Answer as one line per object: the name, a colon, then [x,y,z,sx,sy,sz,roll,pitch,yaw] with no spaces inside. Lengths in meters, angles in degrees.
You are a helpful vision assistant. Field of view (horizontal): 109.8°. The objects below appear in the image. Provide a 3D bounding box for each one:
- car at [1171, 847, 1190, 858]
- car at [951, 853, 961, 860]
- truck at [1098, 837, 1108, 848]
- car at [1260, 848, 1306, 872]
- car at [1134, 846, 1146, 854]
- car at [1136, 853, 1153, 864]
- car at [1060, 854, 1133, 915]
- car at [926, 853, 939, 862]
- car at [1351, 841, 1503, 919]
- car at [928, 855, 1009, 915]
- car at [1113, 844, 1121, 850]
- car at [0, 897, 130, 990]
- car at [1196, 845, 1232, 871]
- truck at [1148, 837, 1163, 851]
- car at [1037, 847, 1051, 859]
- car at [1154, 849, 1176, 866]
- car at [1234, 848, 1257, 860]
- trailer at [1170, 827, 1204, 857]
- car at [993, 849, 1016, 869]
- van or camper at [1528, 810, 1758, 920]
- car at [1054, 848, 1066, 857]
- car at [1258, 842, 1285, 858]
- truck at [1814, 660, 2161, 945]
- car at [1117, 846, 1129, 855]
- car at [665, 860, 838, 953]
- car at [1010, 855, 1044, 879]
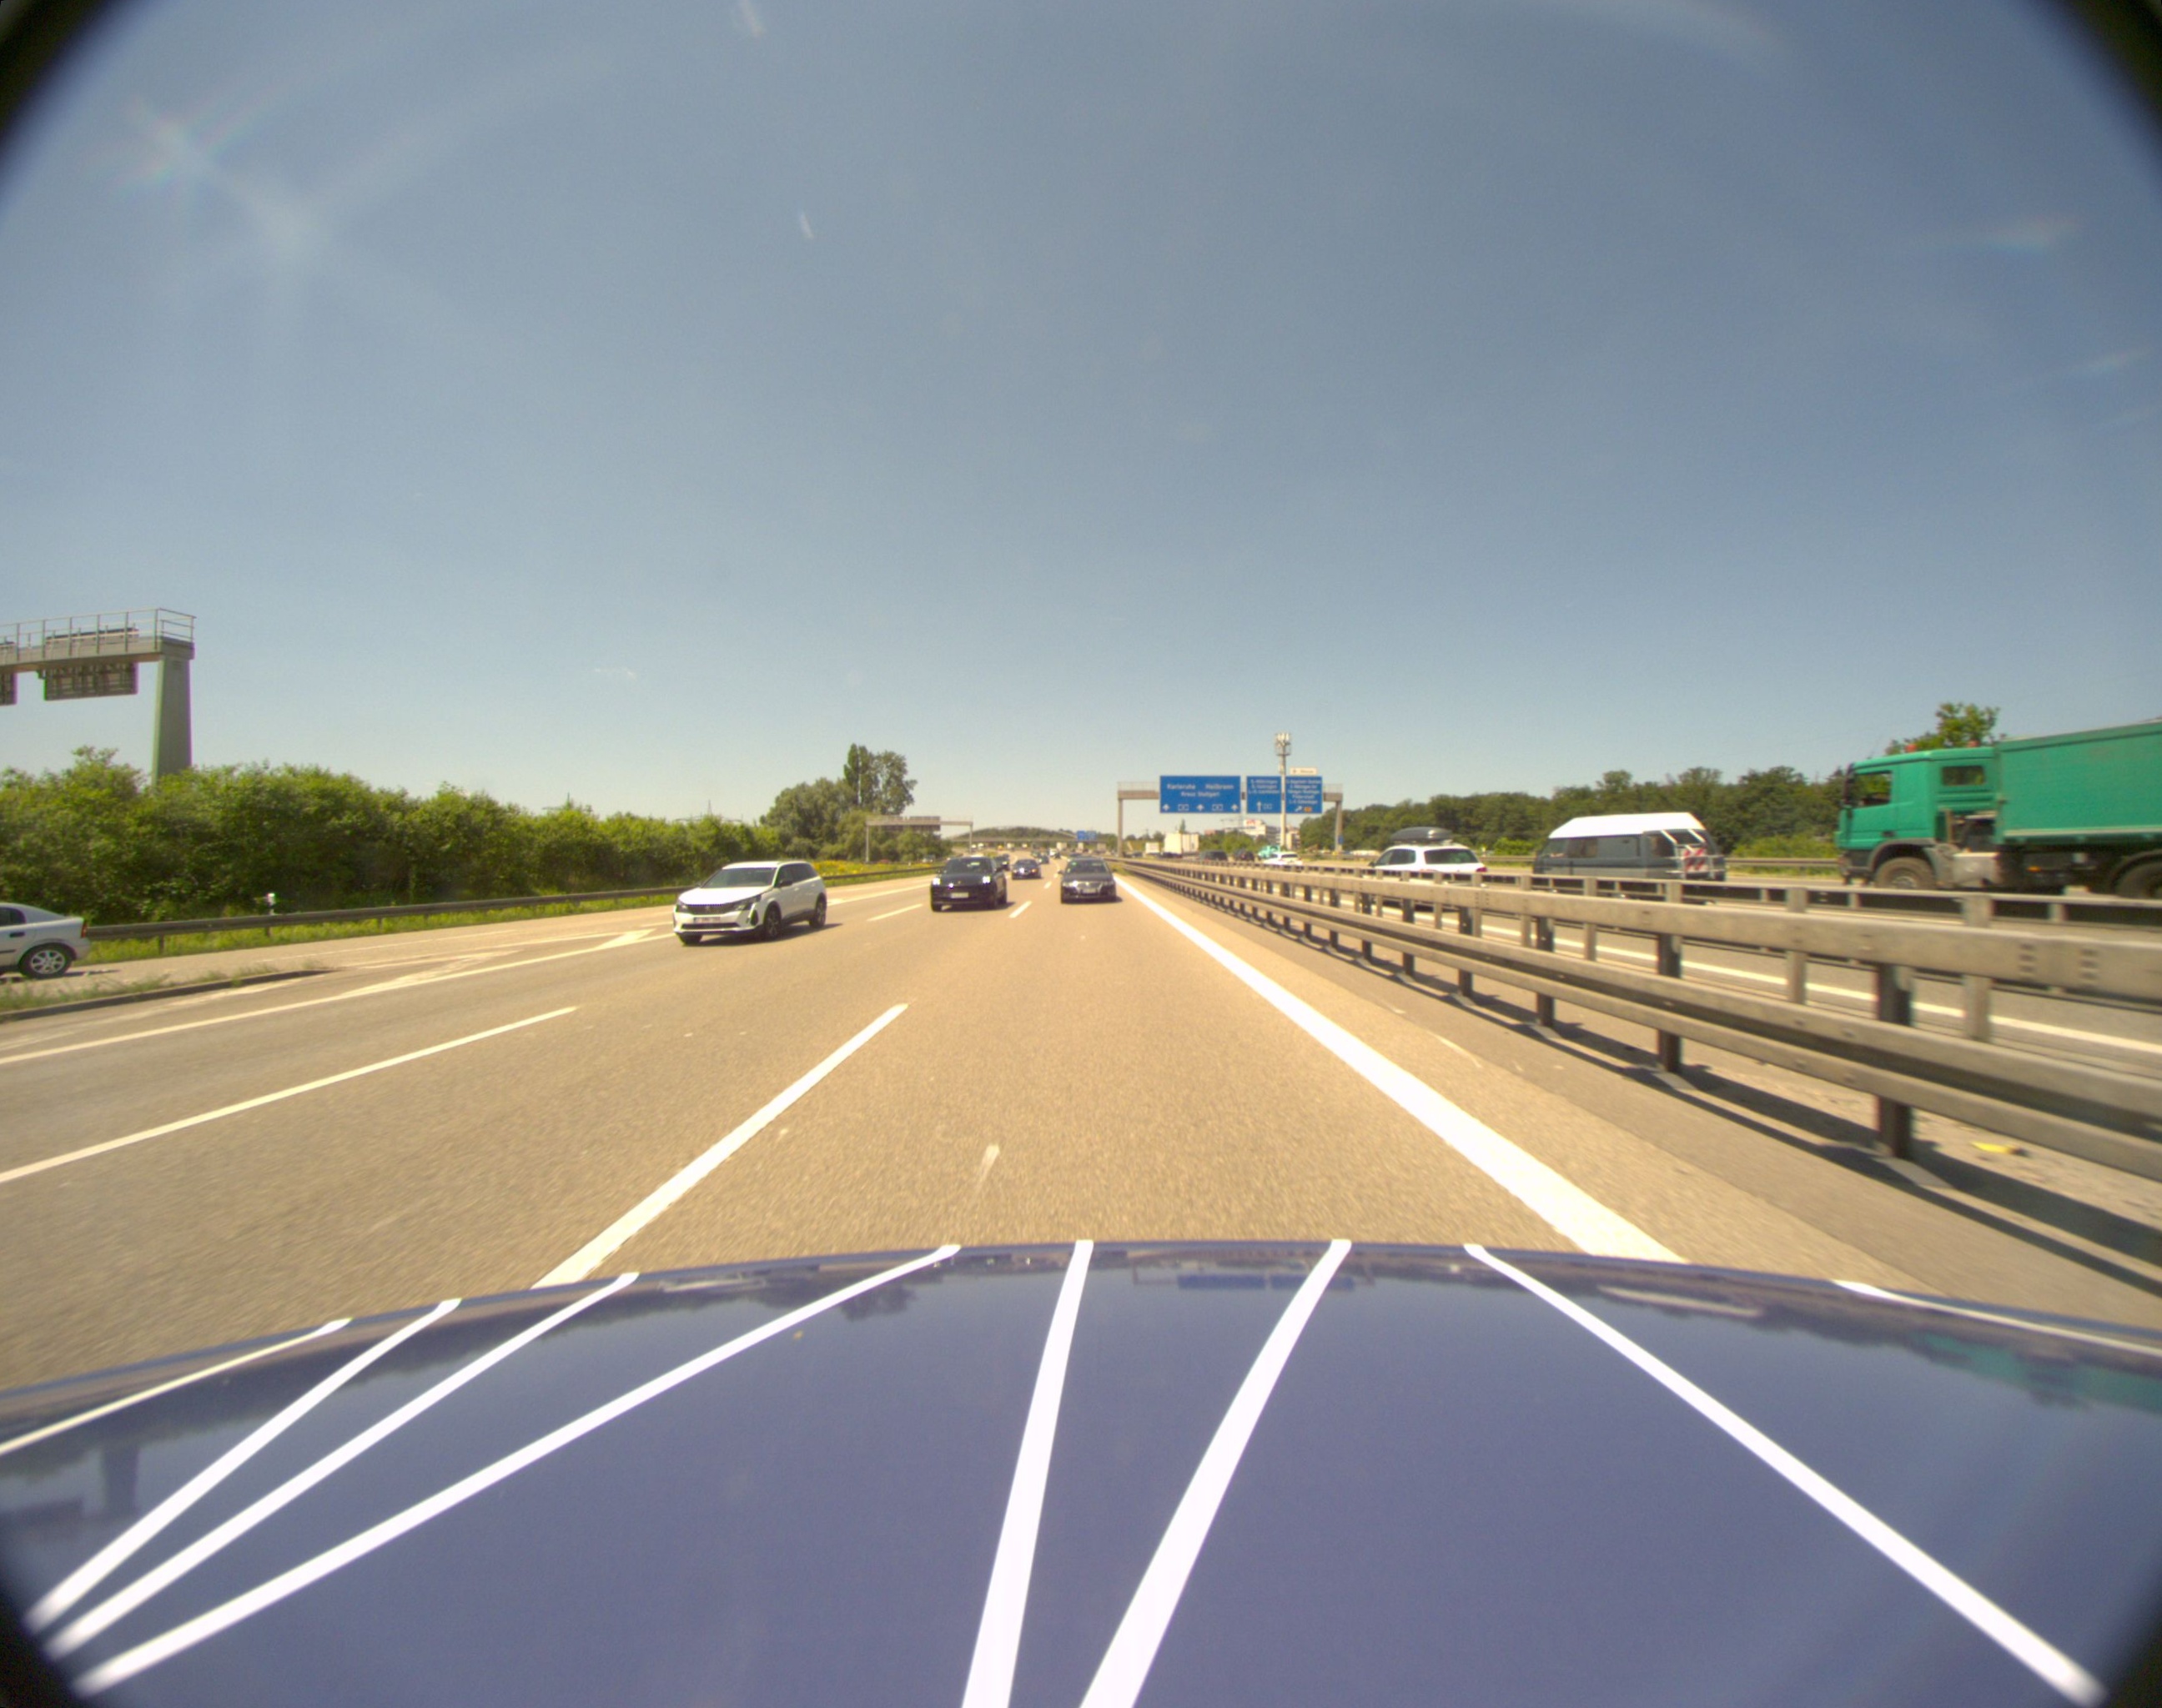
car: [13.188,-0.194,100.819,1.846,1.452,4.996,-2,0,0]
car: [-30.865,0.541,187.246,1.704,1.566,4.127,-2,1,1]
truck: [6.845,-3.663,240.863,2.383,3.259,7.656,-2,1,-4]
car: [13.430,0.351,50.717,1.760,1.473,4.633,-2,0,0]
car: [11.127,-0.798,144.403,1.747,1.500,5.101,-2,0,-2]
car: [8.753,0.570,104.743,1.846,1.452,4.996,-2,0,0]
car: [0.406,0.832,22.798,1.931,1.499,4.390,-2,1,-1]
car: [-28.787,0.749,147.429,1.704,1.566,4.126,-2,1,-1]
car: [9.023,0.588,20.344,1.812,1.787,4.839,-2,1,0]
car: [-3.430,0.900,23.900,1.932,1.586,4.130,-2,1,-1]
car: [10.172,-1.916,212.173,1.910,1.412,3.999,-2,0,-2]
car: [-19.246,1.613,12.067,1.789,1.429,4.849,-1,1,10]
car: [9.748,0.278,56.137,1.760,1.731,4.721,-2,0,0]
truck: [17.023,-2.226,173.830,2.326,3.149,8.110,-2,0,-1]
car: [-5.832,-0.106,119.571,1.925,1.762,3.999,-2,1,1]
car: [8.829,0.378,79.962,1.760,1.659,4.697,-2,0,0]
car: [20.055,0.019,92.823,1.700,1.417,4.454,-2,0,0]
trailer: [15.805,-1.781,113.961,3.231,4.169,11.405,-2,1,-1]
car: [-8.135,0.476,80.911,1.808,1.908,4.294,-2,1,2]
van or camper: [12.965,0.221,18.023,1.760,2.209,4.941,-2,0,0]
car: [-4.637,-0.385,167.813,2.000,1.849,3.996,-2,1,-8]
car: [23.679,-0.543,94.811,2.021,1.903,5.161,-2,0,0]
truck: [17.399,-0.834,13.090,2.766,4.221,6.975,-2,1,-1]
car: [7.577,-0.622,137.092,1.736,1.579,5.355,-2,0,0]
car: [-6.999,1.022,16.751,1.748,1.582,4.618,-2,1,0]
car: [-3.663,0.865,52.097,1.931,1.391,4.116,-2,1,1]
